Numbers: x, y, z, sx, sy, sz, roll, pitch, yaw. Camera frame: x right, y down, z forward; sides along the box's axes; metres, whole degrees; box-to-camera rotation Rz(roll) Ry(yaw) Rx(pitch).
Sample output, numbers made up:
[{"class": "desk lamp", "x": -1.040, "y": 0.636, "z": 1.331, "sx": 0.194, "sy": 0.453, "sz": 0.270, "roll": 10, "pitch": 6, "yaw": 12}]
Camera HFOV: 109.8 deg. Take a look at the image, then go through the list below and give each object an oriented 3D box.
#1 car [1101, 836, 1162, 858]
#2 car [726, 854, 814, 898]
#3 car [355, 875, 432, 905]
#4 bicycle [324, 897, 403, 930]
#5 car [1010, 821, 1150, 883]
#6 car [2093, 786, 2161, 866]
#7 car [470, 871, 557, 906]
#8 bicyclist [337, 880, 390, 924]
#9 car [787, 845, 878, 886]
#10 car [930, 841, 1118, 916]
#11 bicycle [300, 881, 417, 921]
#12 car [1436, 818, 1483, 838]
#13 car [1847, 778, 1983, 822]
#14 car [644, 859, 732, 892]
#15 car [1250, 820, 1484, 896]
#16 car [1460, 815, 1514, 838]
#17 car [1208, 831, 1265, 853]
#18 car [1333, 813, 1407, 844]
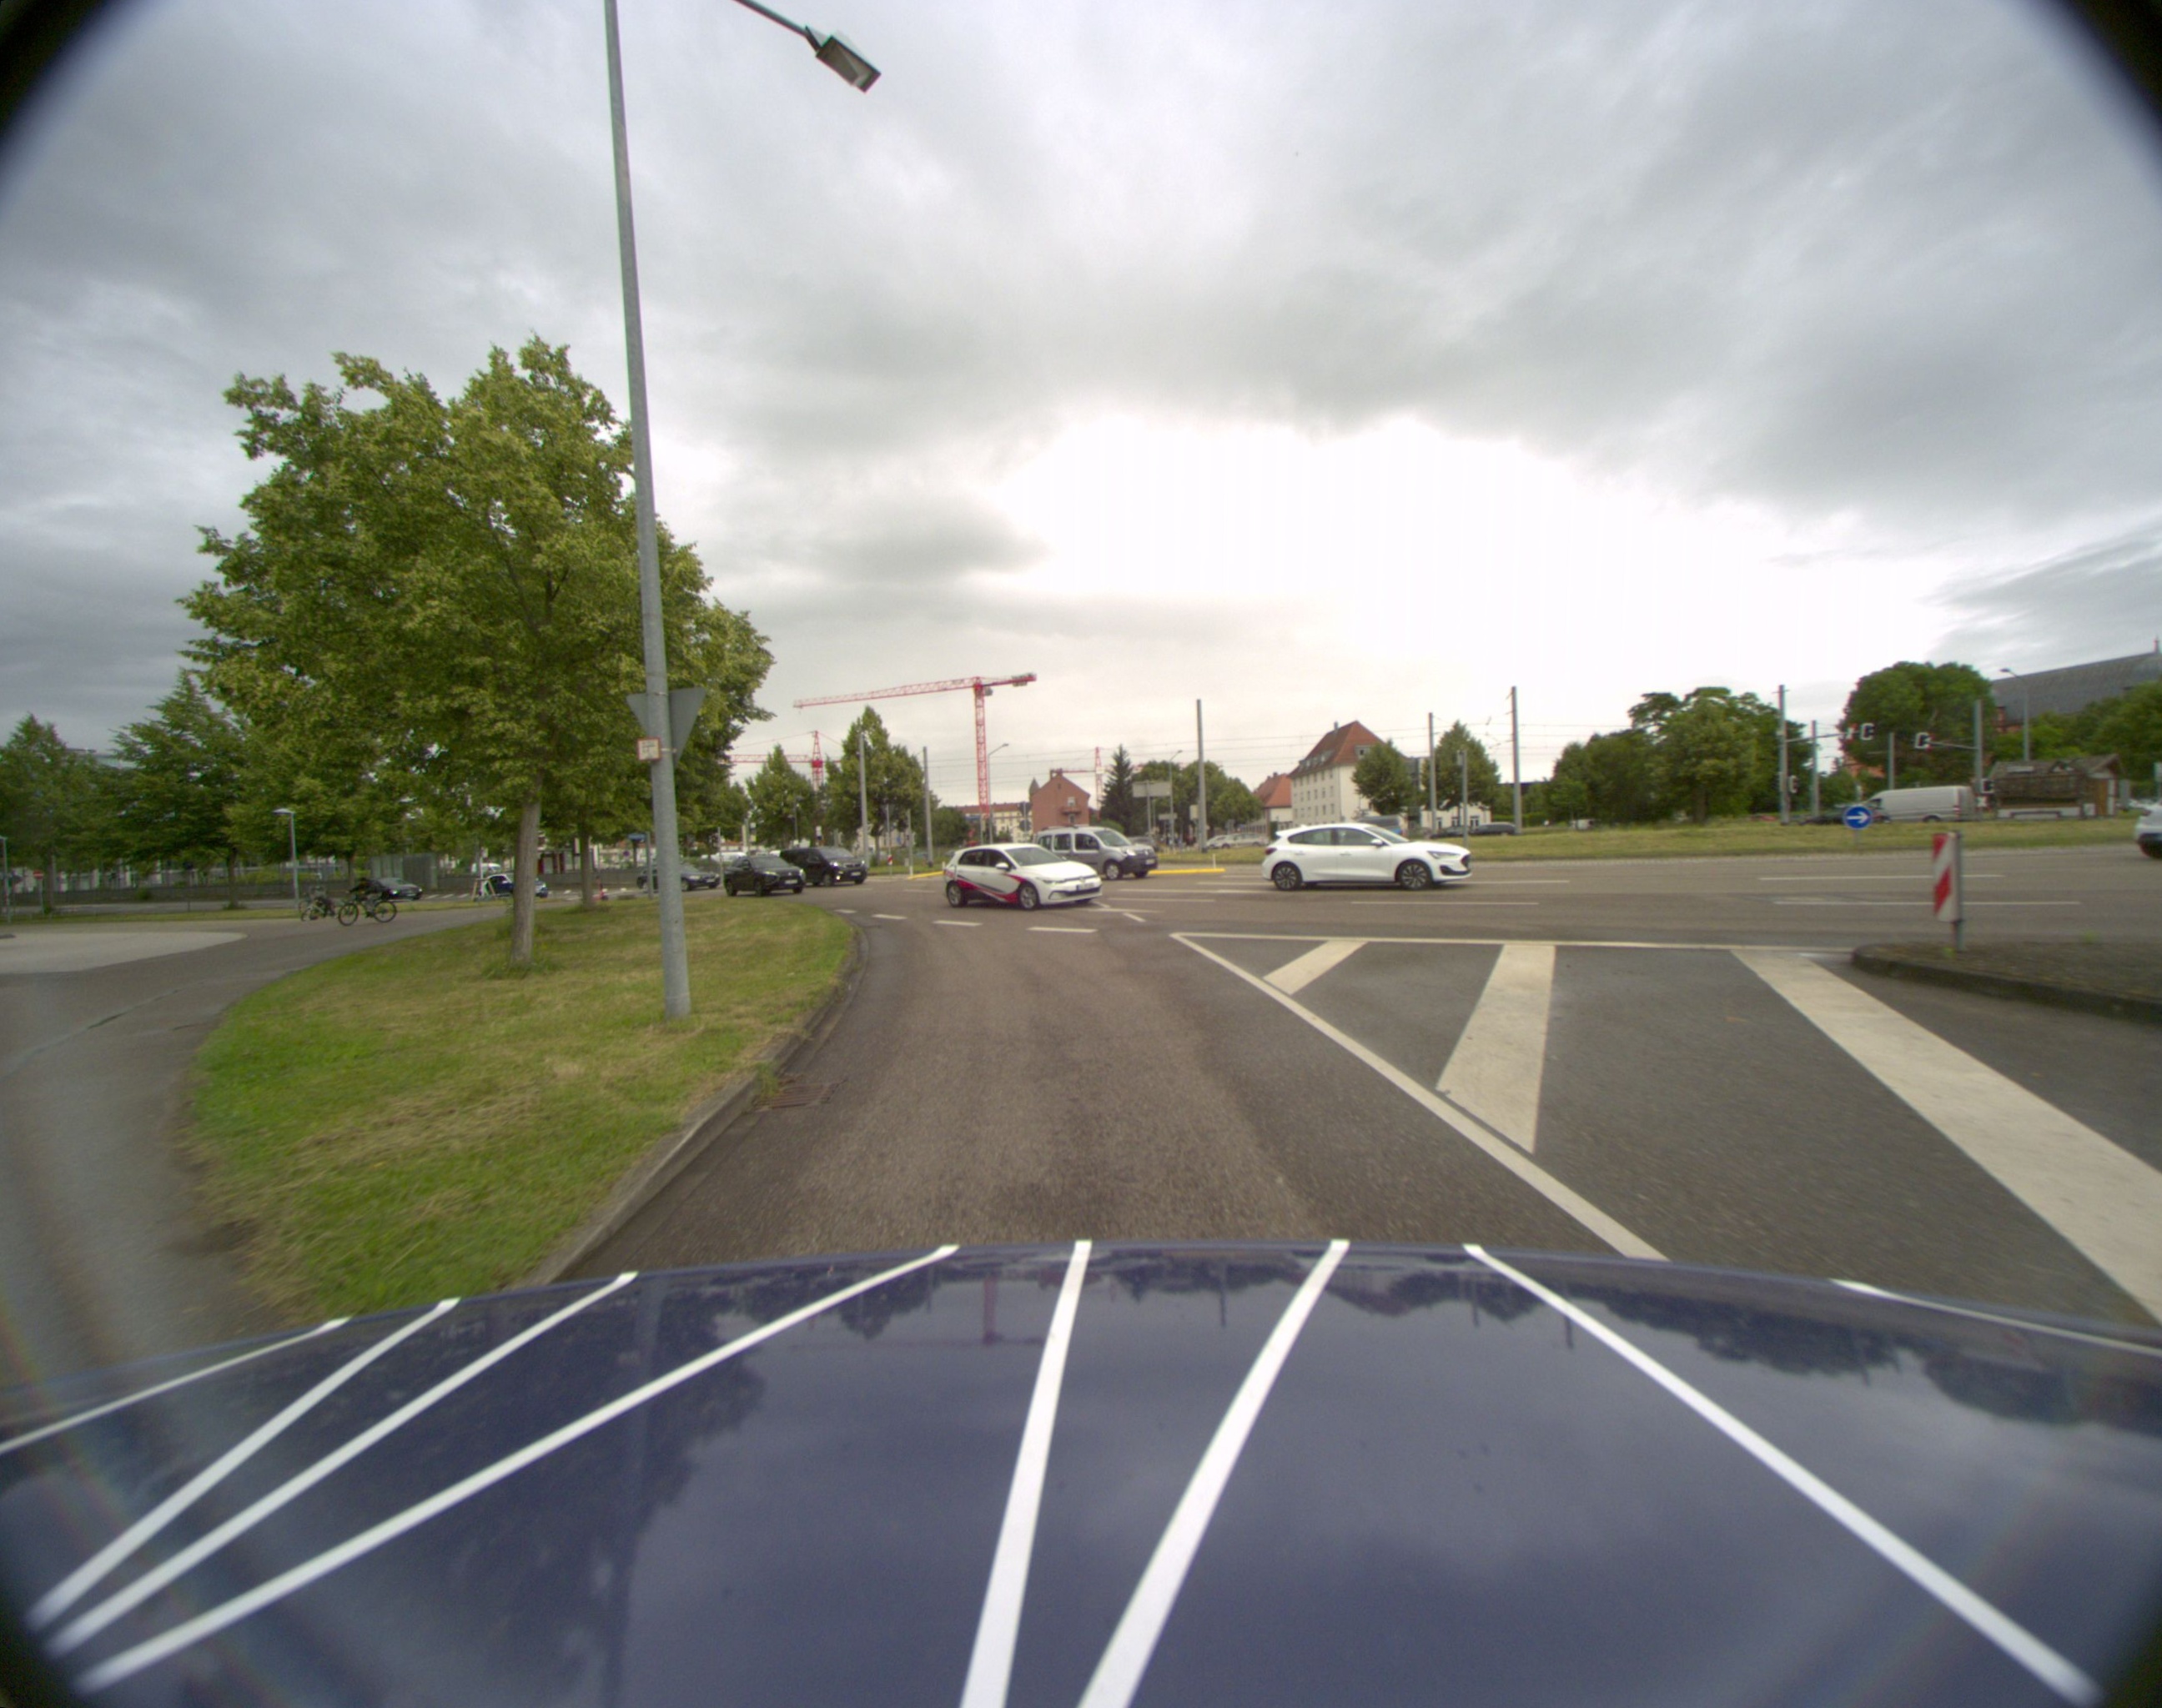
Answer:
[{"class": "car", "x": 3.796, "y": -0.525, "z": 56.929, "sx": 4.350, "sy": 1.462, "sz": 1.994, "roll": -4, "pitch": 2, "yaw": -40}, {"class": "car", "x": -12.887, "y": 0.883, "z": 31.326, "sx": 1.925, "sy": 1.557, "sz": 4.463, "roll": -4, "pitch": 2, "yaw": -42}, {"class": "car", "x": -44.235, "y": 2.321, "z": 48.900, "sx": 3.992, "sy": 1.718, "sz": 1.863, "roll": -2, "pitch": 1, "yaw": 19}, {"class": "bicycle", "x": -23.081, "y": 1.890, "z": 24.493, "sx": 0.622, "sy": 0.870, "sz": 1.988, "roll": -1, "pitch": 1, "yaw": 1}, {"class": "car", "x": -0.091, "y": -0.042, "z": 25.950, "sx": 4.473, "sy": 1.893, "sz": 1.925, "roll": -2, "pitch": 2, "yaw": 40}, {"class": "car", "x": 21.951, "y": -0.612, "z": 13.589, "sx": 4.468, "sy": 1.447, "sz": 1.923, "roll": -3, "pitch": 2, "yaw": 12}, {"class": "car", "x": -31.278, "y": 1.900, "z": 41.902, "sx": 3.992, "sy": 1.718, "sz": 1.863, "roll": -2, "pitch": 1, "yaw": 19}, {"class": "bicyclist", "x": -23.084, "y": 1.541, "z": 24.459, "sx": 0.618, "sy": 1.328, "sz": 1.052, "roll": -2, "pitch": 1, "yaw": 1}, {"class": "car", "x": -11.592, "y": 0.561, "z": 35.403, "sx": 4.002, "sy": 1.705, "sz": 1.933, "roll": -2, "pitch": 2, "yaw": 35}, {"class": "car", "x": -1.435, "y": 0.532, "z": 17.667, "sx": 4.420, "sy": 1.449, "sz": 1.835, "roll": -2, "pitch": 2, "yaw": 44}, {"class": "bicycle", "x": -27.699, "y": 1.778, "z": 29.229, "sx": 1.015, "sy": 1.281, "sz": 3.075, "roll": -2, "pitch": 1, "yaw": 20}, {"class": "car", "x": 37.522, "y": -2.584, "z": 75.329, "sx": 3.990, "sy": 1.674, "sz": 1.816, "roll": -2, "pitch": 2, "yaw": 30}, {"class": "car", "x": 54.439, "y": -3.453, "z": 49.772, "sx": 2.242, "sy": 2.527, "sz": 5.601, "roll": -3, "pitch": 2, "yaw": -16}, {"class": "car", "x": -21.051, "y": 1.143, "z": 40.716, "sx": 4.348, "sy": 1.608, "sz": 2.003, "roll": -2, "pitch": 1, "yaw": 28}, {"class": "car", "x": 6.280, "y": 0.105, "z": 16.903, "sx": 4.463, "sy": 1.449, "sz": 1.925, "roll": -2, "pitch": 2, "yaw": 38}, {"class": "car", "x": 34.887, "y": -2.360, "z": 65.245, "sx": 3.990, "sy": 1.674, "sz": 1.816, "roll": -2, "pitch": 2, "yaw": 30}, {"class": "car", "x": 12.479, "y": -0.957, "z": 60.985, "sx": 4.002, "sy": 1.480, "sz": 1.810, "roll": -3, "pitch": 2, "yaw": -16}, {"class": "car", "x": 24.009, "y": -2.101, "z": 63.250, "sx": 5.336, "sy": 2.230, "sz": 2.176, "roll": -3, "pitch": 2, "yaw": 6}]
